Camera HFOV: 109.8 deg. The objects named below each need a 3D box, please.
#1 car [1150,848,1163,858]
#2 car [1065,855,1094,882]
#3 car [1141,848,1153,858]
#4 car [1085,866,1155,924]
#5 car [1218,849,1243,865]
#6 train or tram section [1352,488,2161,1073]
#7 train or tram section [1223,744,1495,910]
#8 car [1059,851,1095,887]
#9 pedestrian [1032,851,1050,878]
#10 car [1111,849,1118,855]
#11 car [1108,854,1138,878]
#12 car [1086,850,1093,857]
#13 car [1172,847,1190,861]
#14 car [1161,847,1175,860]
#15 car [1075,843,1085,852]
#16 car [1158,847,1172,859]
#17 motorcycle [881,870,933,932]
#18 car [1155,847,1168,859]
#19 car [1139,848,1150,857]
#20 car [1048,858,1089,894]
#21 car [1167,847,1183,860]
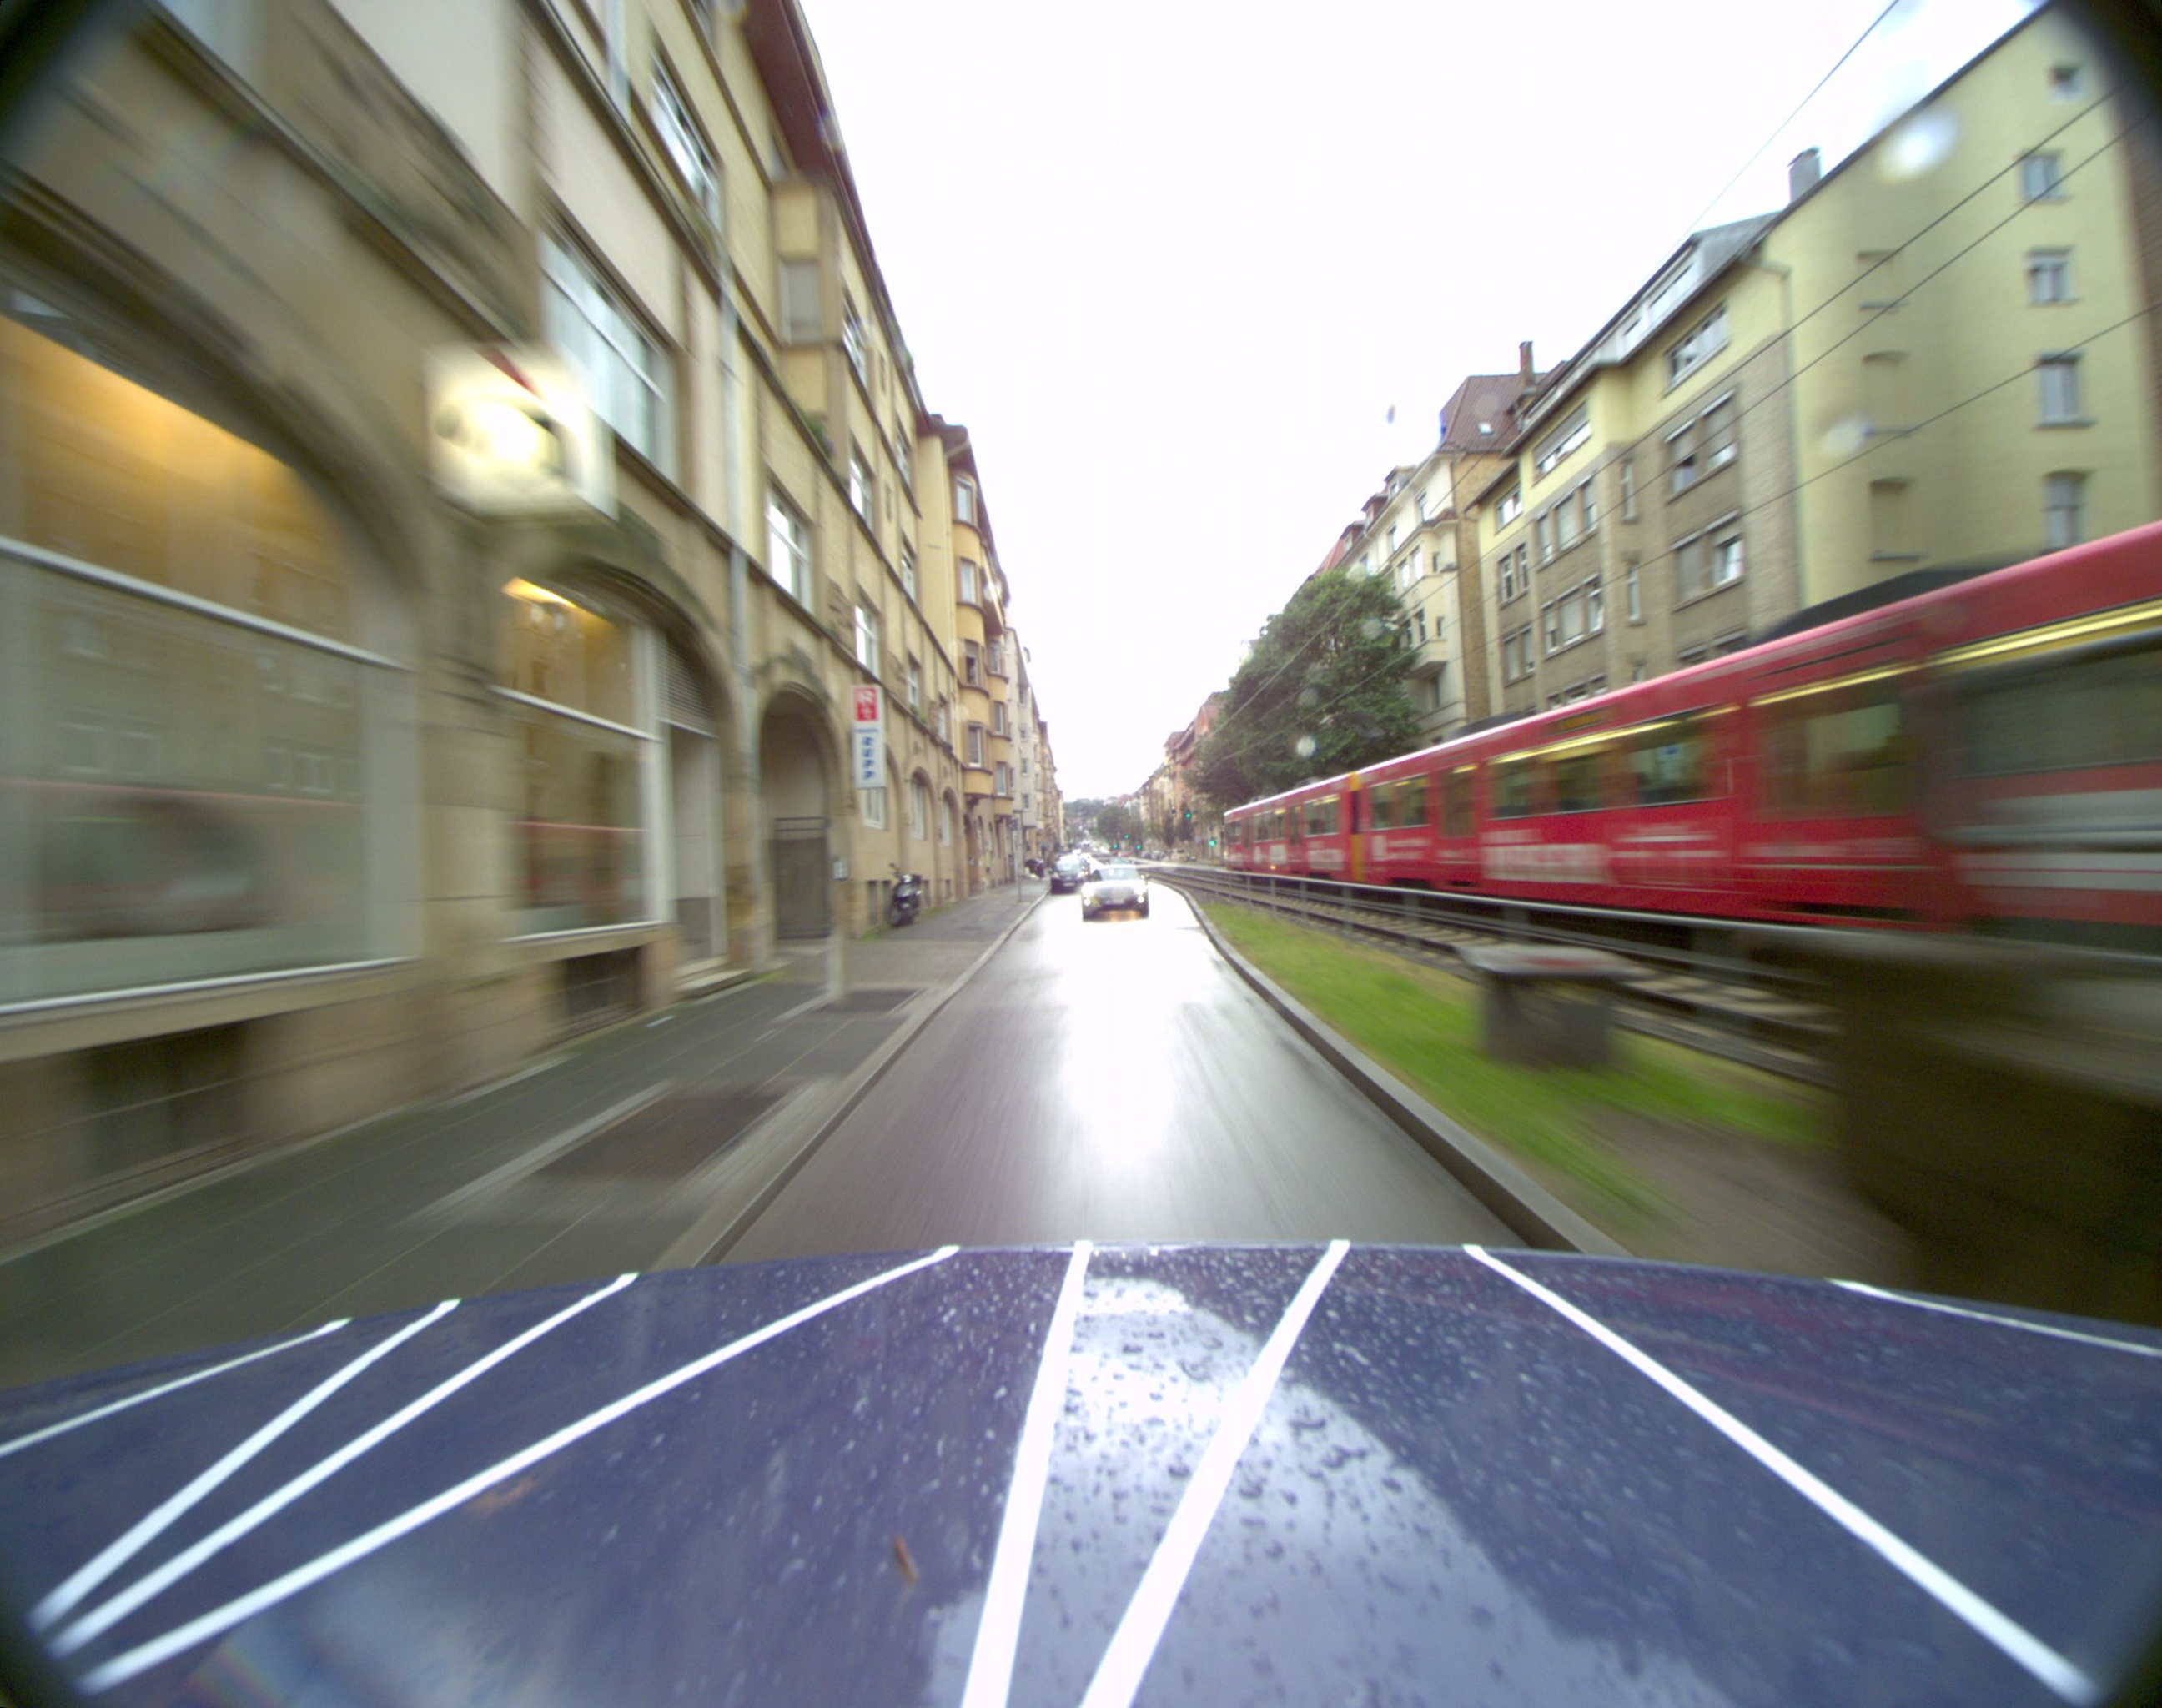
[{"bbox_3d":[14.259,-0.179,143.340,1.998,1.958,4.000,-2,0,0],"label":"car"},{"bbox_3d":[-0.071,0.861,47.490,1.648,1.536,4.028,-2,0,2],"label":"car"},{"bbox_3d":[13.943,-0.279,160.860,1.998,1.958,4.000,-2,0,0],"label":"car"},{"bbox_3d":[1.030,1.053,21.000,1.704,1.280,4.195,-2,0,2],"label":"car"},{"bbox_3d":[14.708,0.321,74.953,1.648,1.481,4.165,-2,0,0],"label":"car"},{"bbox_3d":[8.557,-0.559,9.938,2.722,3.898,19.859,-3,0,0],"label":"train or tram section"},{"bbox_3d":[8.550,-0.723,28.059,2.722,3.898,19.295,-3,0,0],"label":"train or tram section"},{"bbox_3d":[-0.153,0.752,41.237,1.741,1.788,4.265,-2,0,2],"label":"car"},{"bbox_3d":[-2.634,0.705,50.291,1.125,1.703,1.101,-3,1,-3],"label":"pedestrian"},{"bbox_3d":[10.987,-0.700,247.128,1.998,1.958,4.000,-2,0,0],"label":"car"},{"bbox_3d":[2.614,0.725,47.894,1.690,1.451,3.299,-1,0,1],"label":"car"},{"bbox_3d":[2.432,-0.085,215.694,1.998,1.958,4.000,-2,0,0],"label":"car"},{"bbox_3d":[14.876,-0.007,113.060,1.998,1.958,4.000,-2,0,0],"label":"car"},{"bbox_3d":[14.601,-0.090,127.714,1.998,1.958,4.000,-2,0,0],"label":"car"},{"bbox_3d":[-0.162,-1.310,162.178,1.998,1.761,4.000,-3,1,2],"label":"car"},{"bbox_3d":[14.631,-0.126,133.073,1.998,1.958,4.000,-2,0,0],"label":"car"},{"bbox_3d":[-3.870,1.020,17.071,0.692,1.230,1.779,3,0,0],"label":"motorcycle"},{"bbox_3d":[14.601,-0.155,137.792,1.998,1.958,4.000,-2,0,0],"label":"car"},{"bbox_3d":[13.967,-0.313,168.172,1.998,1.958,4.000,-2,0,0],"label":"car"},{"bbox_3d":[-0.501,0.941,34.360,1.633,1.443,4.000,-2,0,2],"label":"car"},{"bbox_3d":[14.940,-0.058,120.502,1.998,1.958,4.000,-2,0,0],"label":"car"}]
